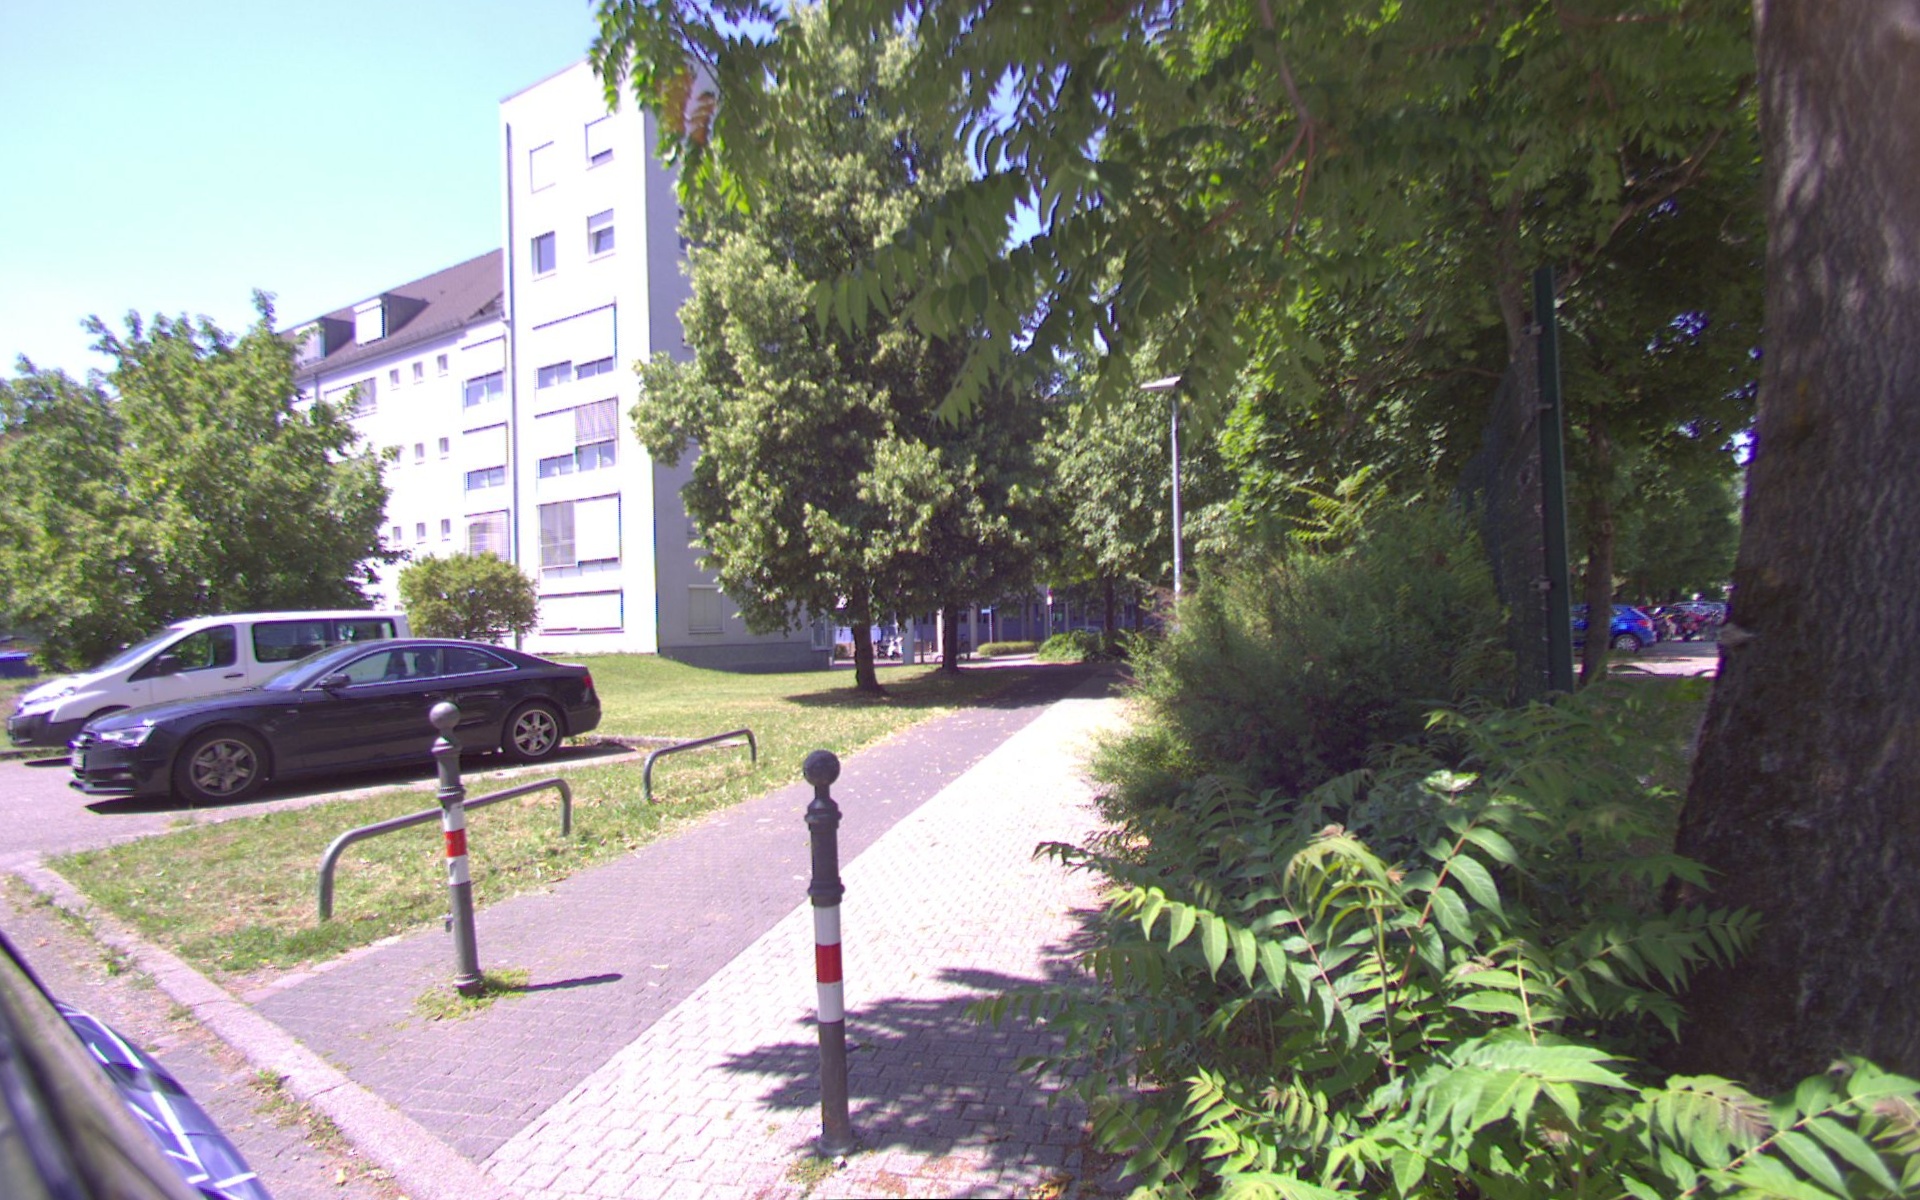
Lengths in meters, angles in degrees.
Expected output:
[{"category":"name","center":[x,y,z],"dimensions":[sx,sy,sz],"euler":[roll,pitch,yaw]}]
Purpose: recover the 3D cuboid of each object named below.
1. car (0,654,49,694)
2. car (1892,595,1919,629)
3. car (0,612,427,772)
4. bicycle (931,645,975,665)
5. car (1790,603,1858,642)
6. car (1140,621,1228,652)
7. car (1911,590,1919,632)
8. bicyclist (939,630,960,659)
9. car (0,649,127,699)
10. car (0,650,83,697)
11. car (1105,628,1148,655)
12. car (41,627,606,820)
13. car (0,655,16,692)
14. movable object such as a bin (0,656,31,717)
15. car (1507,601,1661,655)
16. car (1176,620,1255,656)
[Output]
[{"category":"car","center":[-40.234,3.091,41.381],"dimensions":[1.609,1.581,4.177],"euler":[-2,-2,33]},{"category":"car","center":[44.470,0.508,45.348],"dimensions":[3.713,1.505,1.438],"euler":[-2,-2,33]},{"category":"car","center":[-10.696,1.159,14.727],"dimensions":[2.066,1.898,4.797],"euler":[-2,-2,41]},{"category":"bicycle","center":[-0.251,2.033,37.426],"dimensions":[0.734,0.646,1.595],"euler":[-6,-4,40]},{"category":"car","center":[39.110,1.003,45.895],"dimensions":[1.806,1.668,3.880],"euler":[-2,-2,33]},{"category":"car","center":[12.392,2.050,56.129],"dimensions":[4.334,1.622,1.910],"euler":[-2,-2,37]},{"category":"car","center":[35.920,0.345,35.298],"dimensions":[3.713,1.505,1.438],"euler":[-2,-2,33]},{"category":"bicyclist","center":[-0.391,1.639,37.295],"dimensions":[0.518,1.053,0.515],"euler":[-7,-5,41]},{"category":"car","center":[-32.183,2.583,35.604],"dimensions":[1.609,1.581,4.177],"euler":[-2,-2,33]},{"category":"car","center":[-35.142,2.721,37.182],"dimensions":[1.609,1.581,4.177],"euler":[-2,-2,33]},{"category":"car","center":[10.517,2.586,63.761],"dimensions":[1.797,1.615,3.863],"euler":[-2,-1,24]},{"category":"car","center":[-6.082,1.060,10.095],"dimensions":[2.022,1.390,4.383],"euler":[-5,-4,41]},{"category":"car","center":[-42.975,3.207,42.839],"dimensions":[1.609,1.581,4.177],"euler":[-2,-2,33]},{"category":"movable object such as a bin","center":[-23.010,2.060,24.050],"dimensions":[1.094,1.399,1.255],"euler":[-2,-2,39]},{"category":"car","center":[17.363,0.793,28.274],"dimensions":[3.542,1.432,1.565],"euler":[-2,-2,33]},{"category":"car","center":[14.843,2.202,58.941],"dimensions":[3.993,2.029,1.975],"euler":[-2,-2,37]}]
